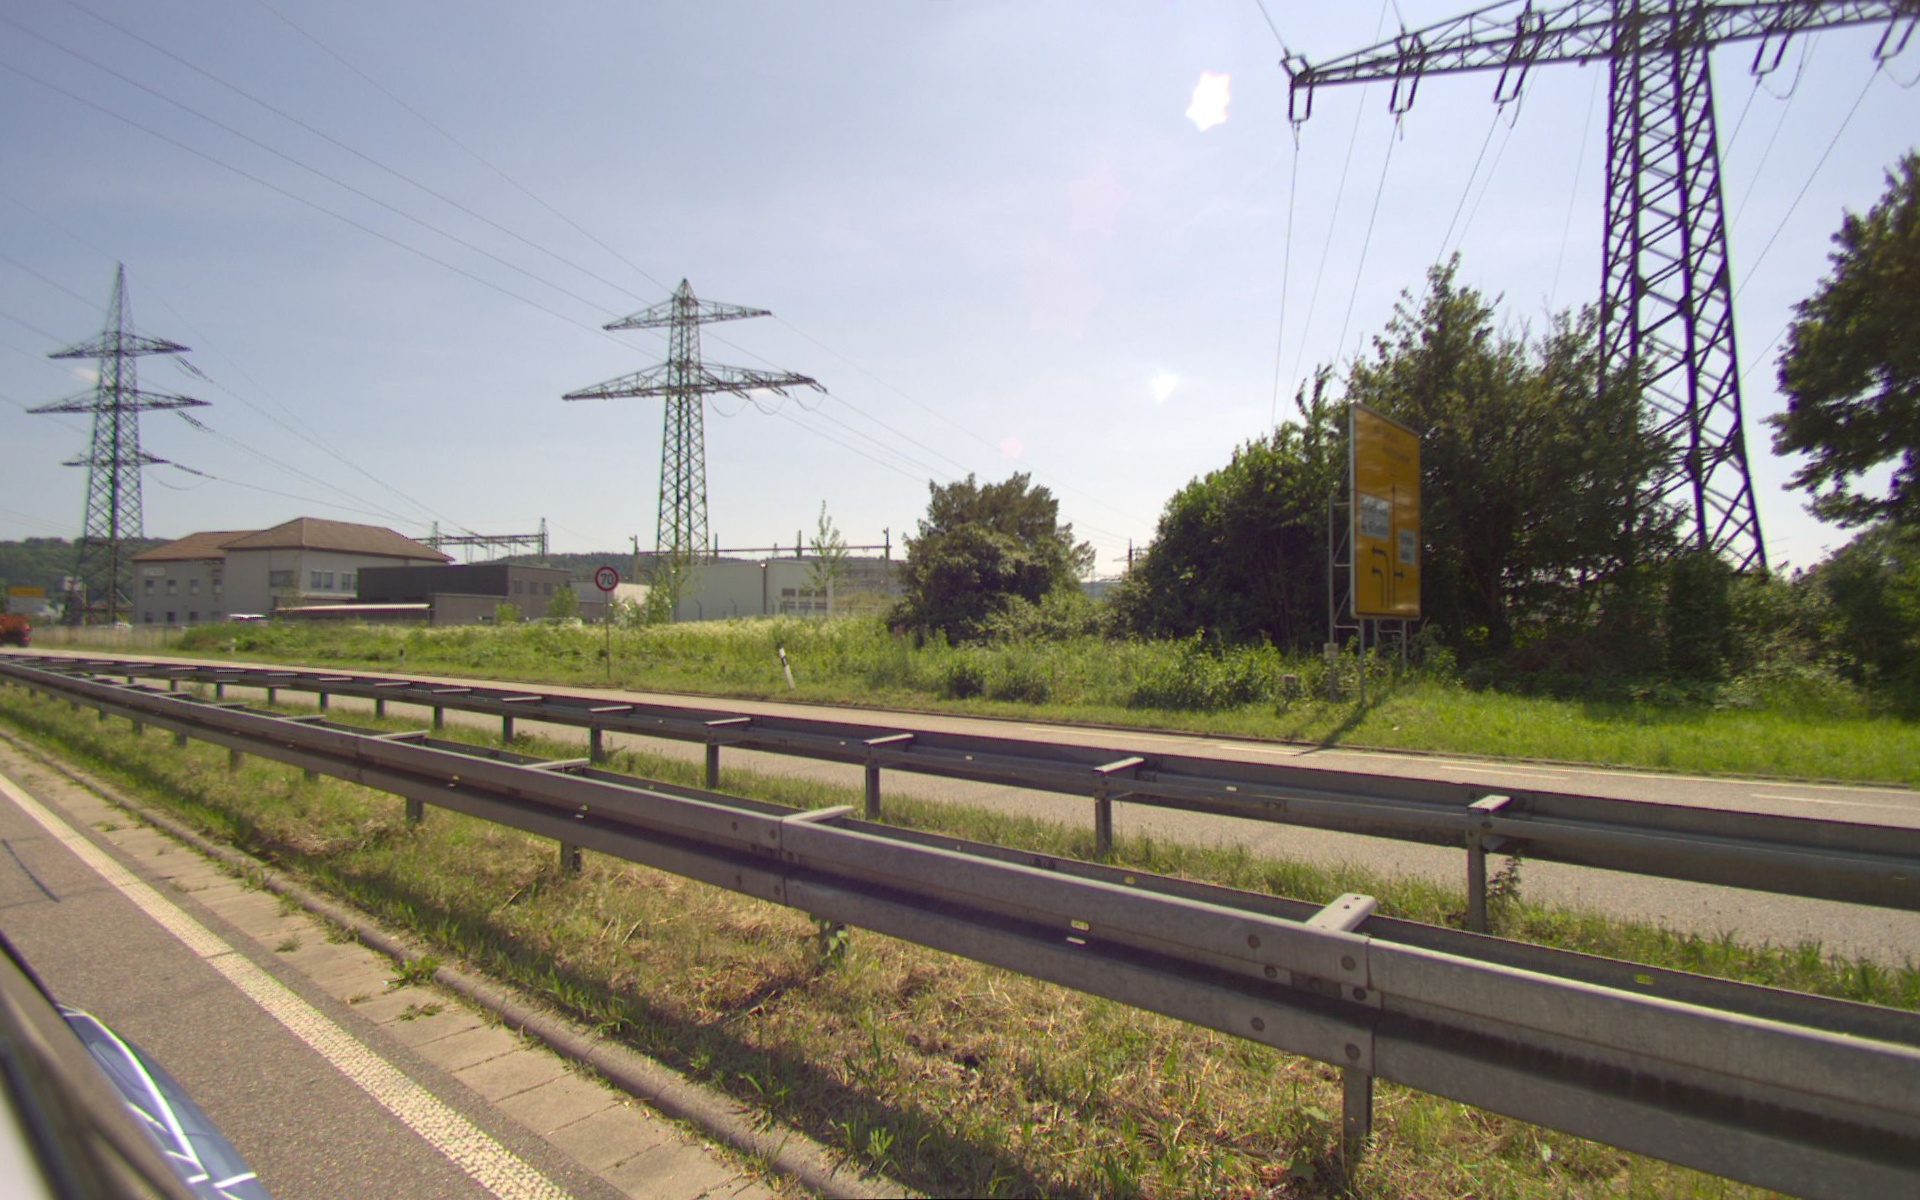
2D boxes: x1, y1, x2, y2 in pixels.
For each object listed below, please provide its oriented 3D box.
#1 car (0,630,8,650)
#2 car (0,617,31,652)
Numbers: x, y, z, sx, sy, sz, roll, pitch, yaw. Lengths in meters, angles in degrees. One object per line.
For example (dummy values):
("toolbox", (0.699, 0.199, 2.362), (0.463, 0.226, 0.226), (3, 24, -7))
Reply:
("car", (-95.348, 3.952, 99.474), (3.993, 1.929, 1.975), (0, 0, 37))
("car", (-87.810, 3.185, 93.215), (5.634, 3.084, 2.574), (-2, -3, 40))
